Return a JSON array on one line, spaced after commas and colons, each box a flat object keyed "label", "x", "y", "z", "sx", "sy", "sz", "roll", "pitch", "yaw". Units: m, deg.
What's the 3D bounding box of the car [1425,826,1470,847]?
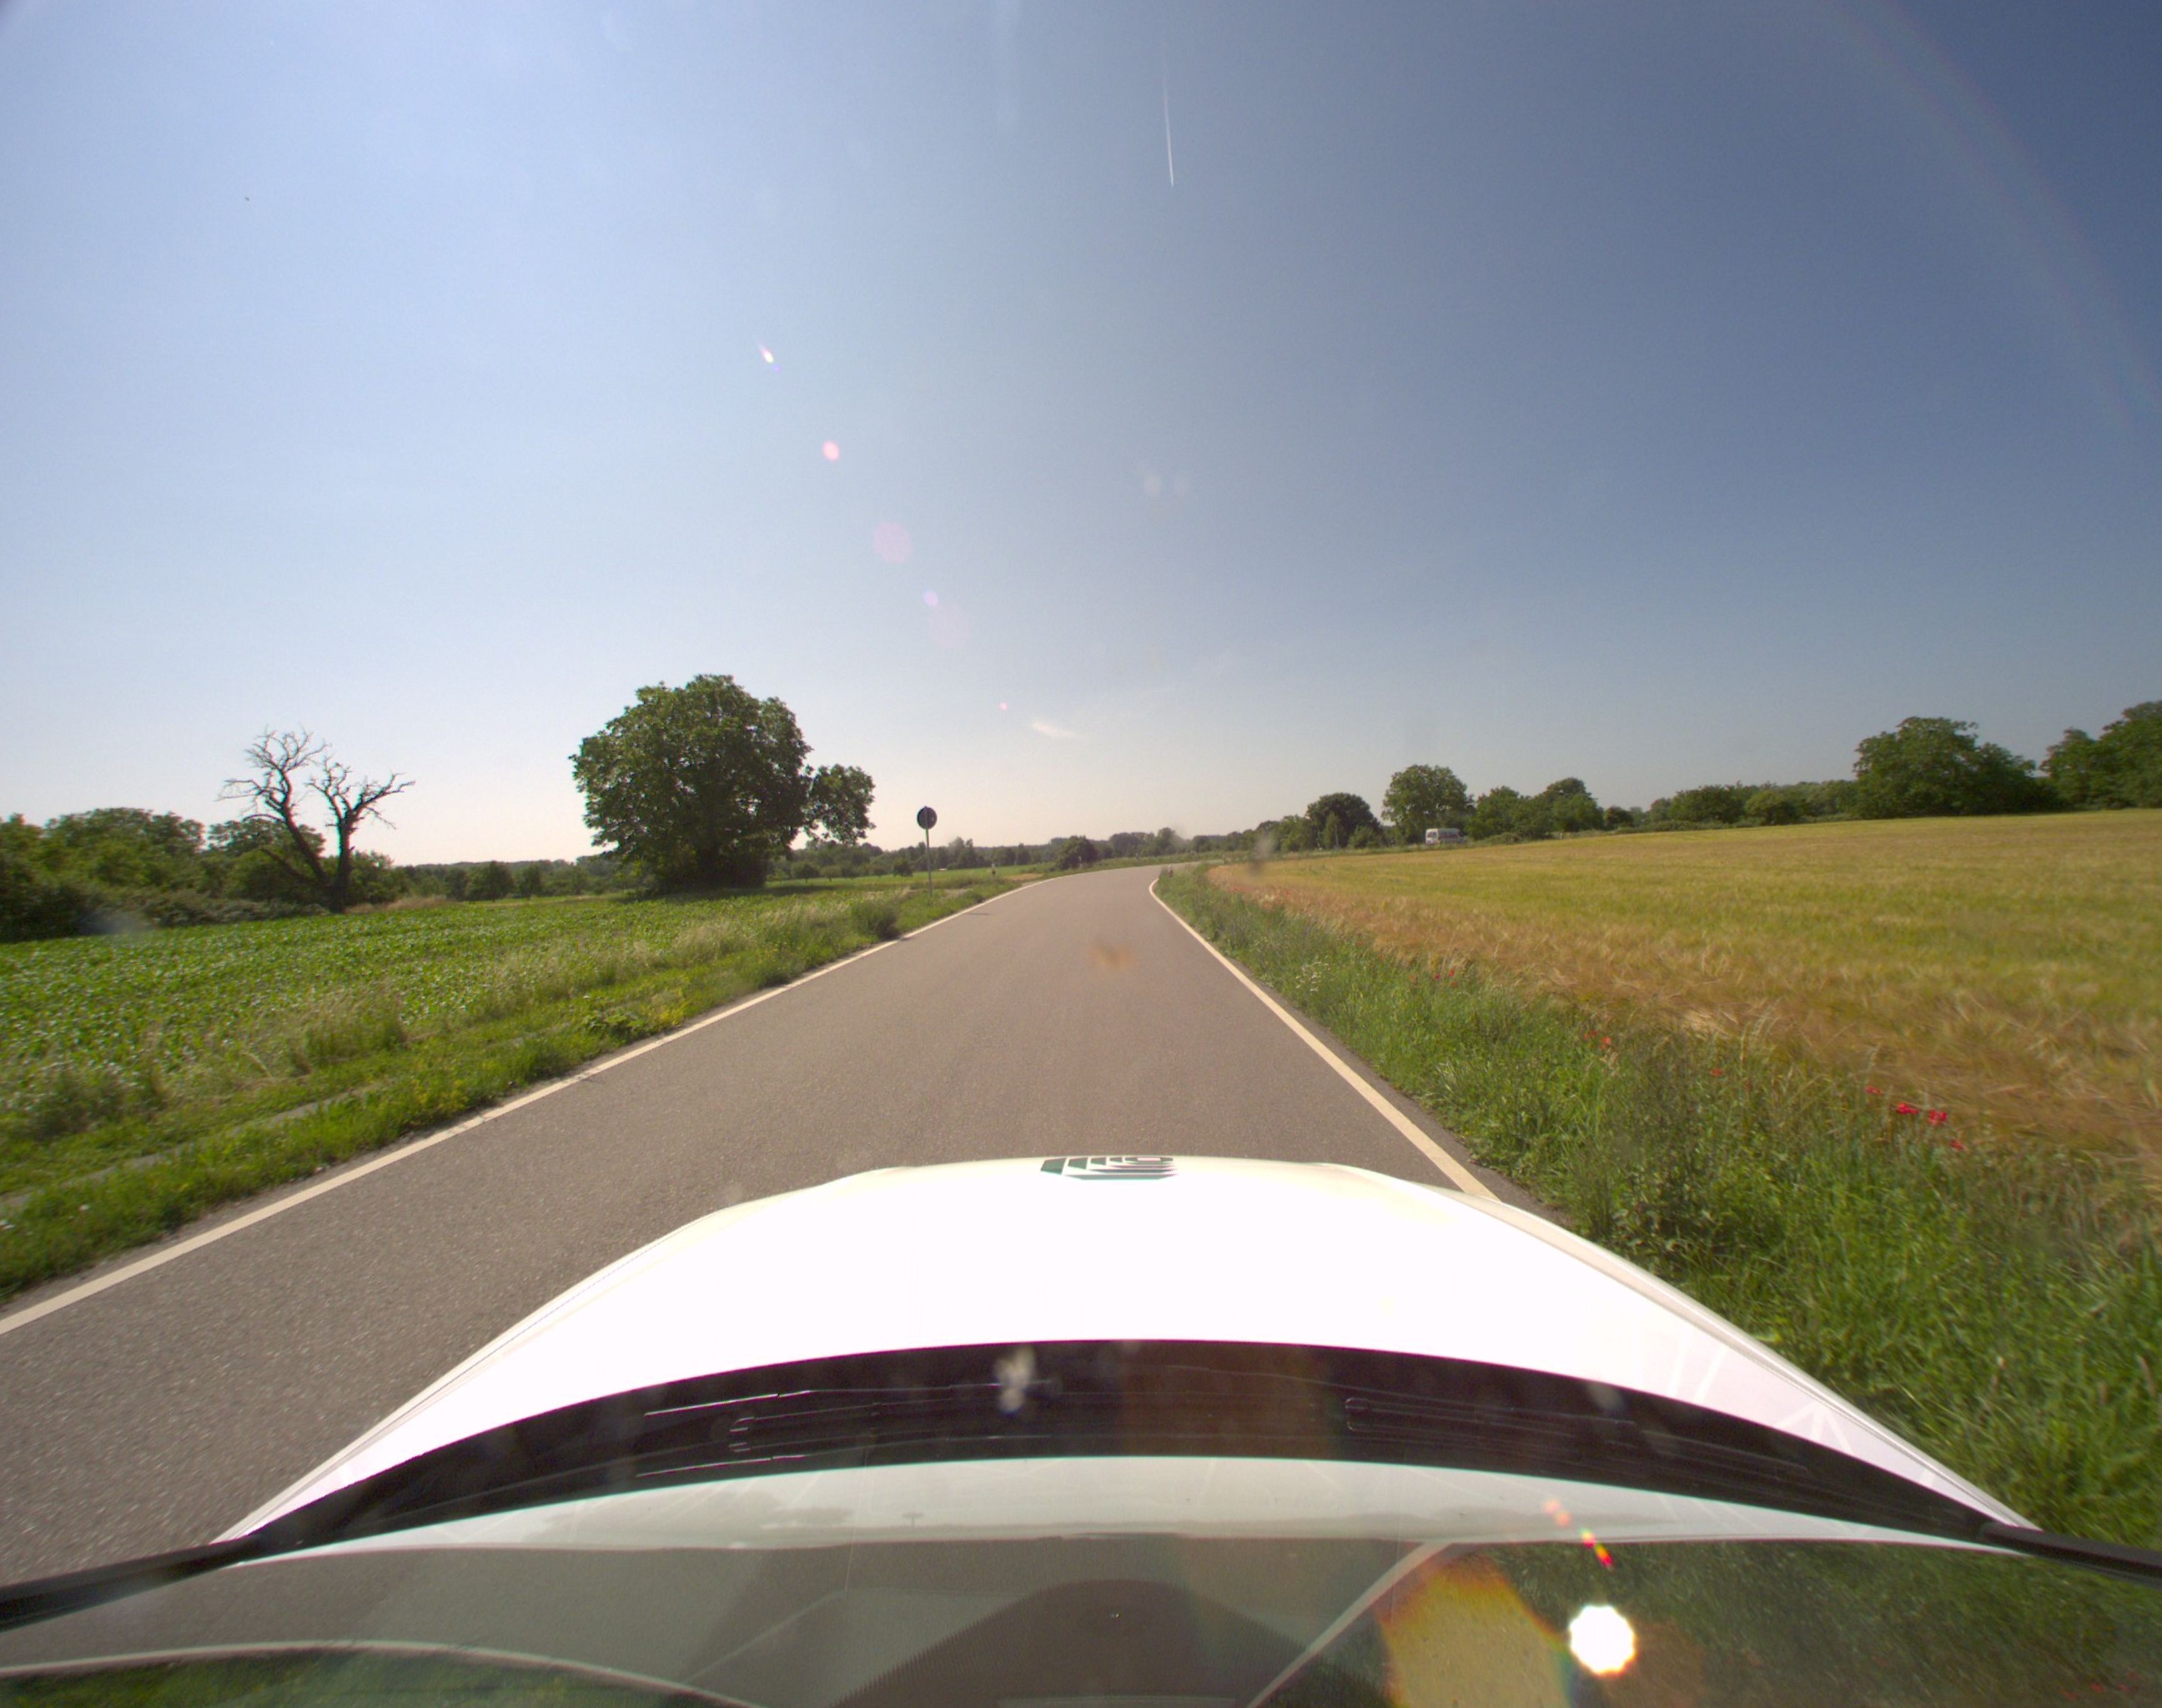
[{"label": "car", "x": 47.345, "y": -2.251, "z": 105.132, "sx": 5.701, "sy": 2.367, "sz": 2.091, "roll": -4, "pitch": 0, "yaw": -28}]
